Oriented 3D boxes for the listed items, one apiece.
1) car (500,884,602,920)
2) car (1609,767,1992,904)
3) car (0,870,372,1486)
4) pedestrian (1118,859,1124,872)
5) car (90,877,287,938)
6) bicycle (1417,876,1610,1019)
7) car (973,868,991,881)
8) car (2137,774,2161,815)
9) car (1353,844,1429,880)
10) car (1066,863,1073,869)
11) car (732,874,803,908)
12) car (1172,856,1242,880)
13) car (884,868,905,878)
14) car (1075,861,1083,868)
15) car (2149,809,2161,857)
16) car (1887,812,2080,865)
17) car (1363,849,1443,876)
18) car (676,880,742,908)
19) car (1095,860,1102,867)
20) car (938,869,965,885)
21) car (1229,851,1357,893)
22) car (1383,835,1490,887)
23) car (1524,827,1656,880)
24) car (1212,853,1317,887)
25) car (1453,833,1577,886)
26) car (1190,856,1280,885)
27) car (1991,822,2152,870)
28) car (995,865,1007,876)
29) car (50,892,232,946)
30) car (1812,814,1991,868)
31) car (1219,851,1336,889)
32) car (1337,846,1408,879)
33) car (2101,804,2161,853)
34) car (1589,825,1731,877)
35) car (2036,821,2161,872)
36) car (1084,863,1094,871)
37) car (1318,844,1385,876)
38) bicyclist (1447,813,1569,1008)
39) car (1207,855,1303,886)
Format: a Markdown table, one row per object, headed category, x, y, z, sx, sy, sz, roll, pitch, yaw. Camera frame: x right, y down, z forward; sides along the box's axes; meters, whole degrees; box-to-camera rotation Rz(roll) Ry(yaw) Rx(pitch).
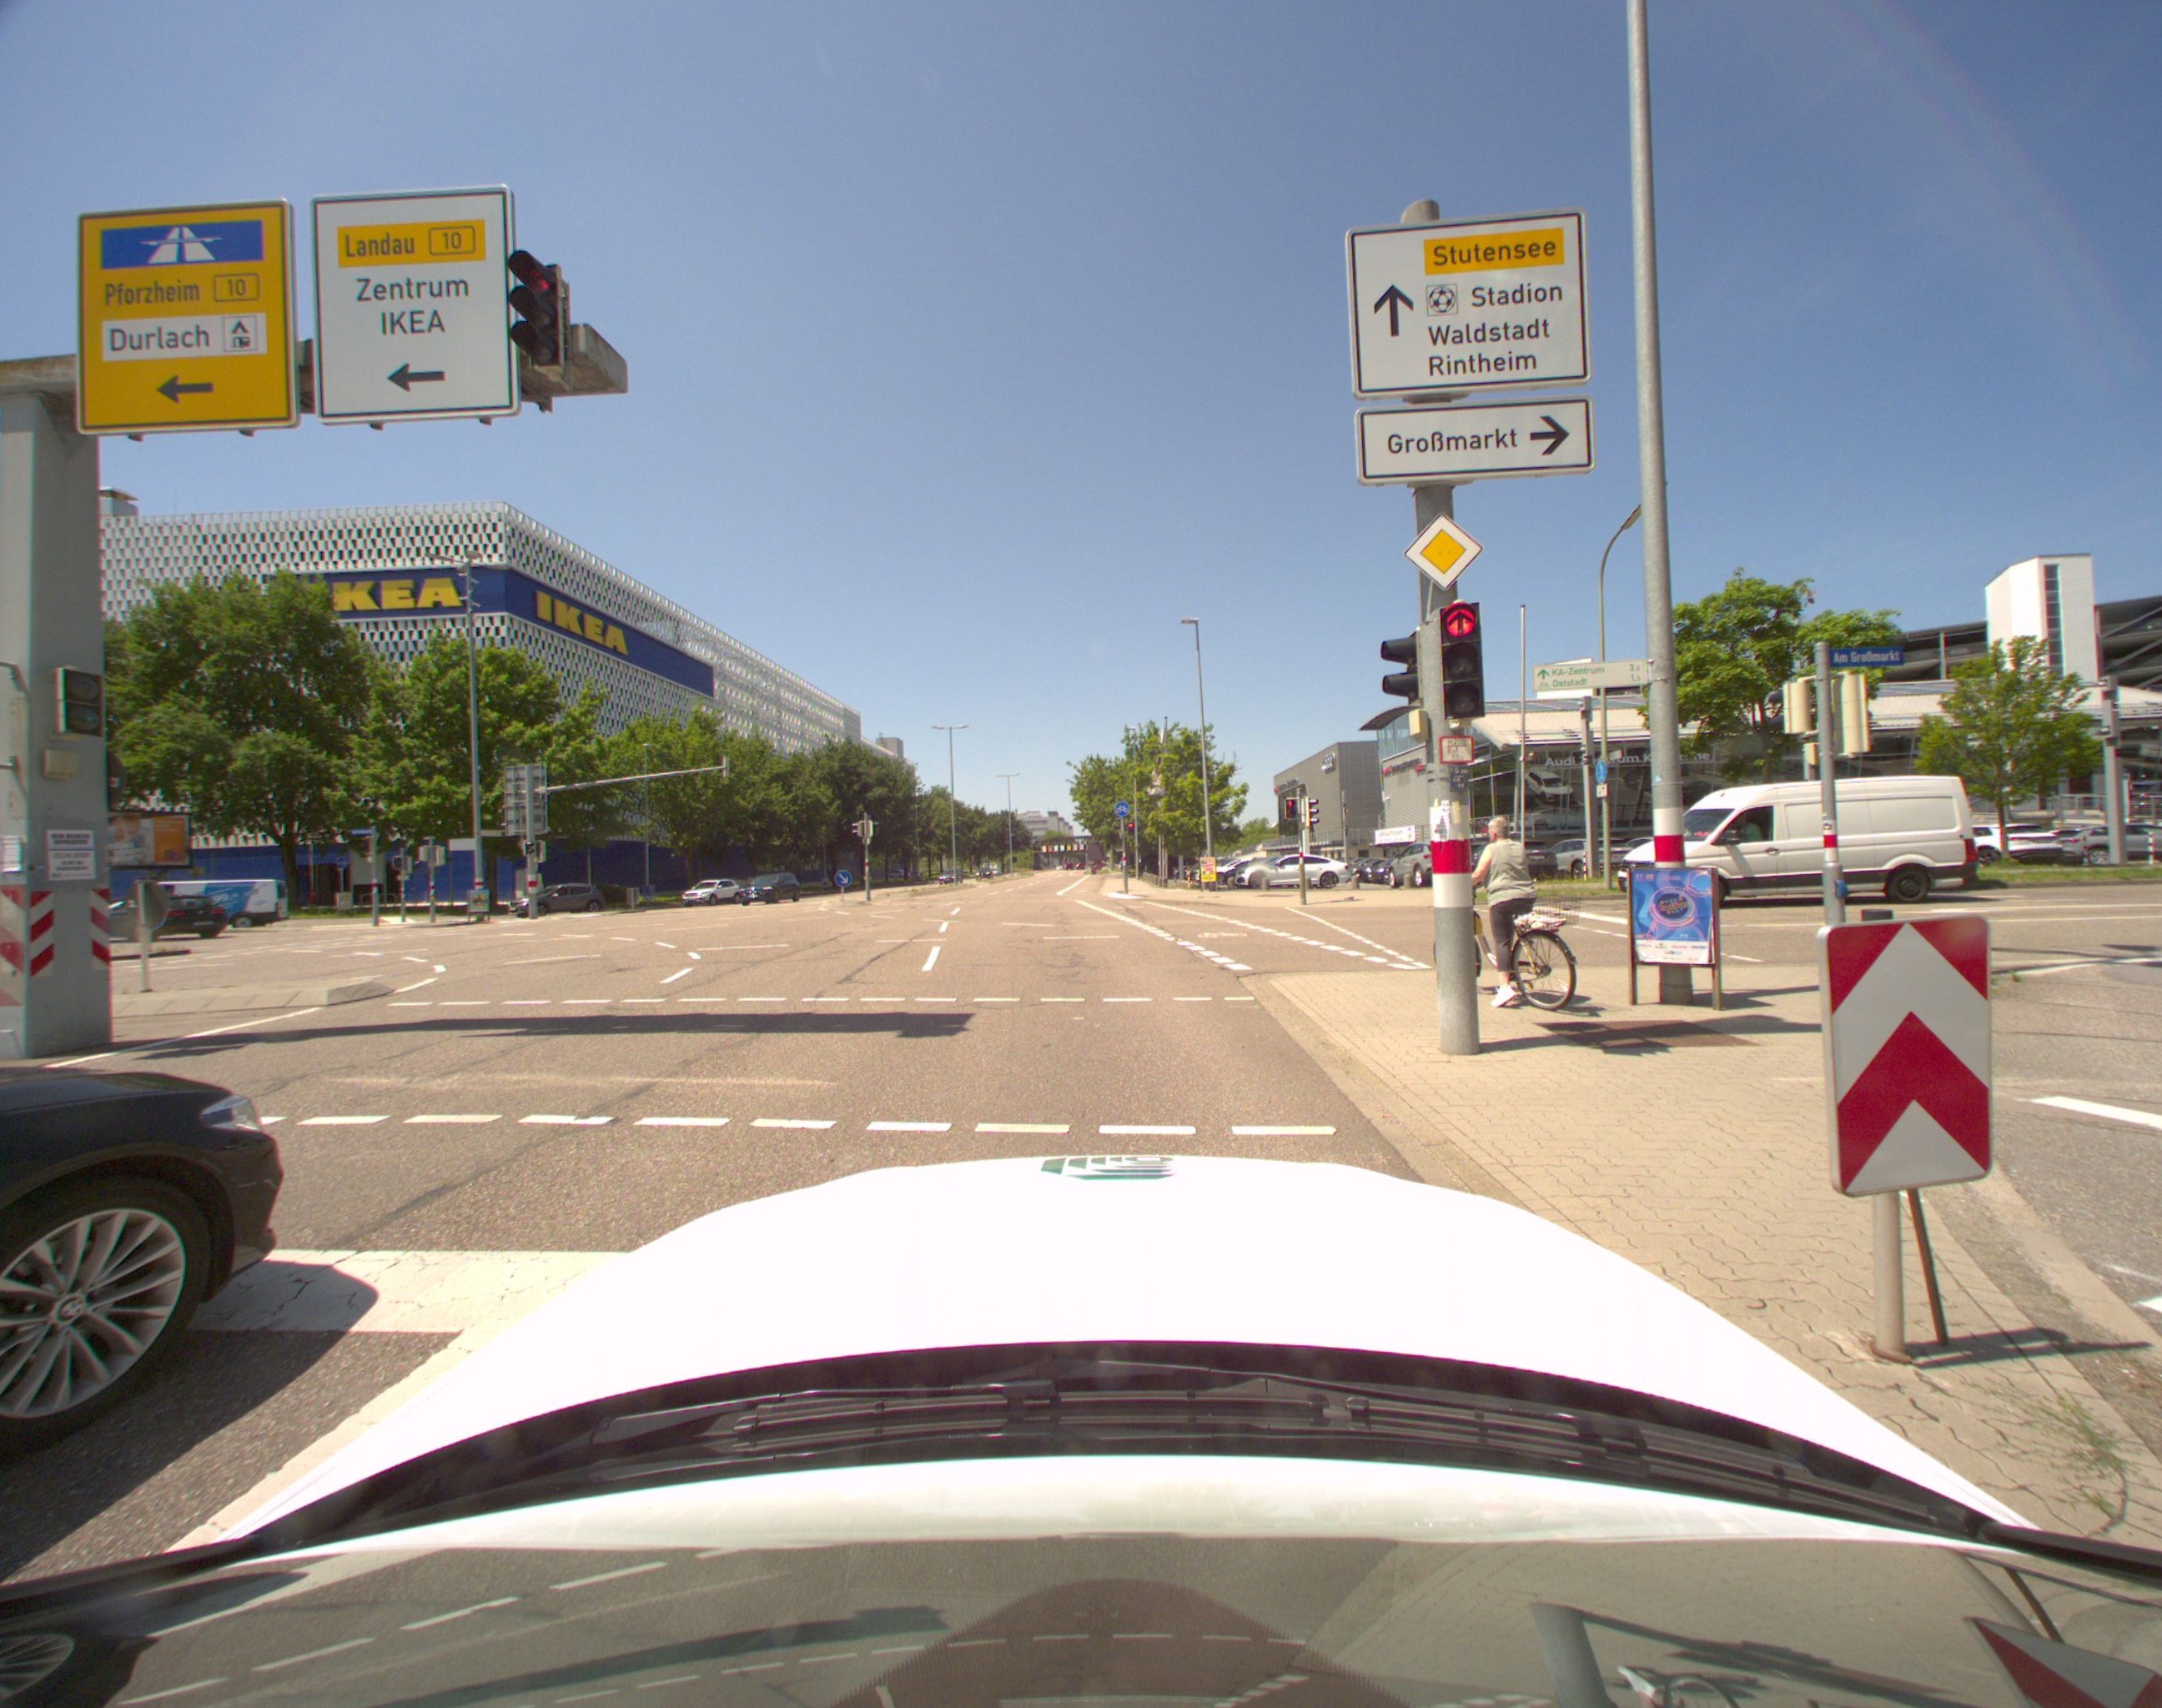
| category | x | y | z | sx | sy | sz | roll | pitch | yaw |
| --- | --- | --- | --- | --- | --- | --- | --- | --- | --- |
| car | -25.863 | 2.312 | 39.842 | 1.753 | 1.533 | 3.778 | -3 | -2 | 32 |
| car | 14.788 | -0.325 | 17.137 | 5.747 | 2.534 | 2.108 | -2 | -1 | 9 |
| car | -3.538 | 0.803 | 0.666 | 1.793 | 1.466 | 4.624 | -1 | 0 | 1 |
| pedestrian | 4.835 | 1.369 | 97.967 | 0.665 | 1.510 | 0.736 | -2 | -1 | 1 |
| car | -34.391 | 2.013 | 31.610 | 4.784 | 2.008 | 1.978 | -2 | -1 | -35 |
| bicycle | 4.051 | 0.816 | 7.838 | 0.784 | 1.127 | 1.919 | -1 | 0 | -2 |
| car | -12.250 | 2.534 | 101.198 | 1.678 | 1.411 | 3.666 | -3 | -1 | 2 |
| car | 54.904 | -3.034 | 39.524 | 1.989 | 2.013 | 3.995 | -2 | -1 | -3 |
| car | 19.455 | 0.503 | 51.239 | 3.971 | 2.014 | 2.001 | -2 | -1 | 2 |
| car | -3.235 | 3.295 | 225.987 | 1.765 | 1.728 | 4.001 | -3 | -1 | 2 |
| car | -16.745 | 1.922 | 43.763 | 1.868 | 1.598 | 4.498 | -3 | -1 | 2 |
| car | 9.041 | 0.976 | 58.754 | 4.726 | 1.457 | 2.000 | -3 | 0 | 0 |
| car | -34.604 | 3.509 | 151.088 | 3.978 | 1.810 | 2.012 | 0 | 0 | 42 |
| car | -0.556 | 2.866 | 220.149 | 1.765 | 1.728 | 4.001 | -3 | -1 | 2 |
| car | 39.459 | -0.812 | 26.907 | 4.705 | 1.639 | 1.844 | -3 | 0 | 24 |
| car | 31.219 | -0.501 | 28.402 | 1.821 | 1.639 | 4.476 | -3 | 0 | 2 |
| car | 19.286 | 0.520 | 48.900 | 4.076 | 1.460 | 1.720 | -2 | 0 | 2 |
| car | -22.331 | 2.348 | 49.016 | 1.612 | 1.457 | 4.080 | -3 | -1 | 8 |
| car | 4.776 | 2.633 | 220.833 | 1.765 | 1.728 | 4.001 | -3 | -1 | 2 |
| car | -12.392 | 2.185 | 78.035 | 1.725 | 1.427 | 3.707 | -4 | -1 | 2 |
| car | 8.546 | 0.706 | 33.194 | 4.721 | 1.457 | 2.002 | -2 | 0 | 3 |
| car | 12.431 | 0.229 | 28.825 | 1.986 | 1.639 | 4.270 | -2 | 0 | 2 |
| car | 17.941 | -0.019 | 29.000 | 1.986 | 1.639 | 4.443 | -3 | 0 | 2 |
| car | 8.853 | 0.749 | 39.605 | 4.721 | 1.457 | 2.002 | -2 | 0 | 3 |
| car | 15.088 | 0.164 | 28.659 | 1.986 | 1.639 | 4.559 | -2 | 0 | 2 |
| car | 8.754 | 0.908 | 46.485 | 4.726 | 1.457 | 2.000 | -2 | 0 | 0 |
| car | 40.155 | -0.299 | 33.154 | 3.720 | 1.772 | 1.781 | -3 | -1 | 32 |
| car | -13.581 | 2.817 | 138.479 | 1.645 | 1.653 | 4.160 | -2 | -1 | -2 |
| car | -29.007 | 1.993 | 25.177 | 4.197 | 1.411 | 1.676 | -2 | -1 | 9 |
| car | 28.561 | -0.429 | 28.599 | 1.821 | 1.639 | 4.476 | -3 | 0 | 2 |
| car | 8.594 | 0.705 | 35.901 | 4.721 | 1.457 | 2.002 | -2 | -2 | 3 |
| car | 19.334 | 0.564 | 54.061 | 3.971 | 2.014 | 2.001 | -2 | -1 | 2 |
| car | 47.036 | -1.147 | 34.941 | 3.728 | 2.014 | 1.866 | -2 | -1 | 11 |
| car | 20.342 | -0.108 | 28.893 | 1.878 | 1.639 | 4.526 | -3 | 0 | 2 |
| car | 39.196 | -0.280 | 30.711 | 3.665 | 1.777 | 1.759 | -3 | -1 | 28 |
| car | 1.034 | 1.654 | 105.547 | 1.133 | 1.042 | 2.309 | -2 | 0 | 2 |
| car | 18.740 | 0.414 | 56.549 | 3.971 | 2.014 | 2.001 | -2 | -1 | 2 |
| bicyclist | 4.021 | 0.504 | 7.723 | 0.732 | 1.749 | 0.753 | -1 | 0 | -3 |
| car | 9.277 | 0.852 | 43.718 | 4.726 | 1.457 | 2.000 | -2 | 0 | 0 |
